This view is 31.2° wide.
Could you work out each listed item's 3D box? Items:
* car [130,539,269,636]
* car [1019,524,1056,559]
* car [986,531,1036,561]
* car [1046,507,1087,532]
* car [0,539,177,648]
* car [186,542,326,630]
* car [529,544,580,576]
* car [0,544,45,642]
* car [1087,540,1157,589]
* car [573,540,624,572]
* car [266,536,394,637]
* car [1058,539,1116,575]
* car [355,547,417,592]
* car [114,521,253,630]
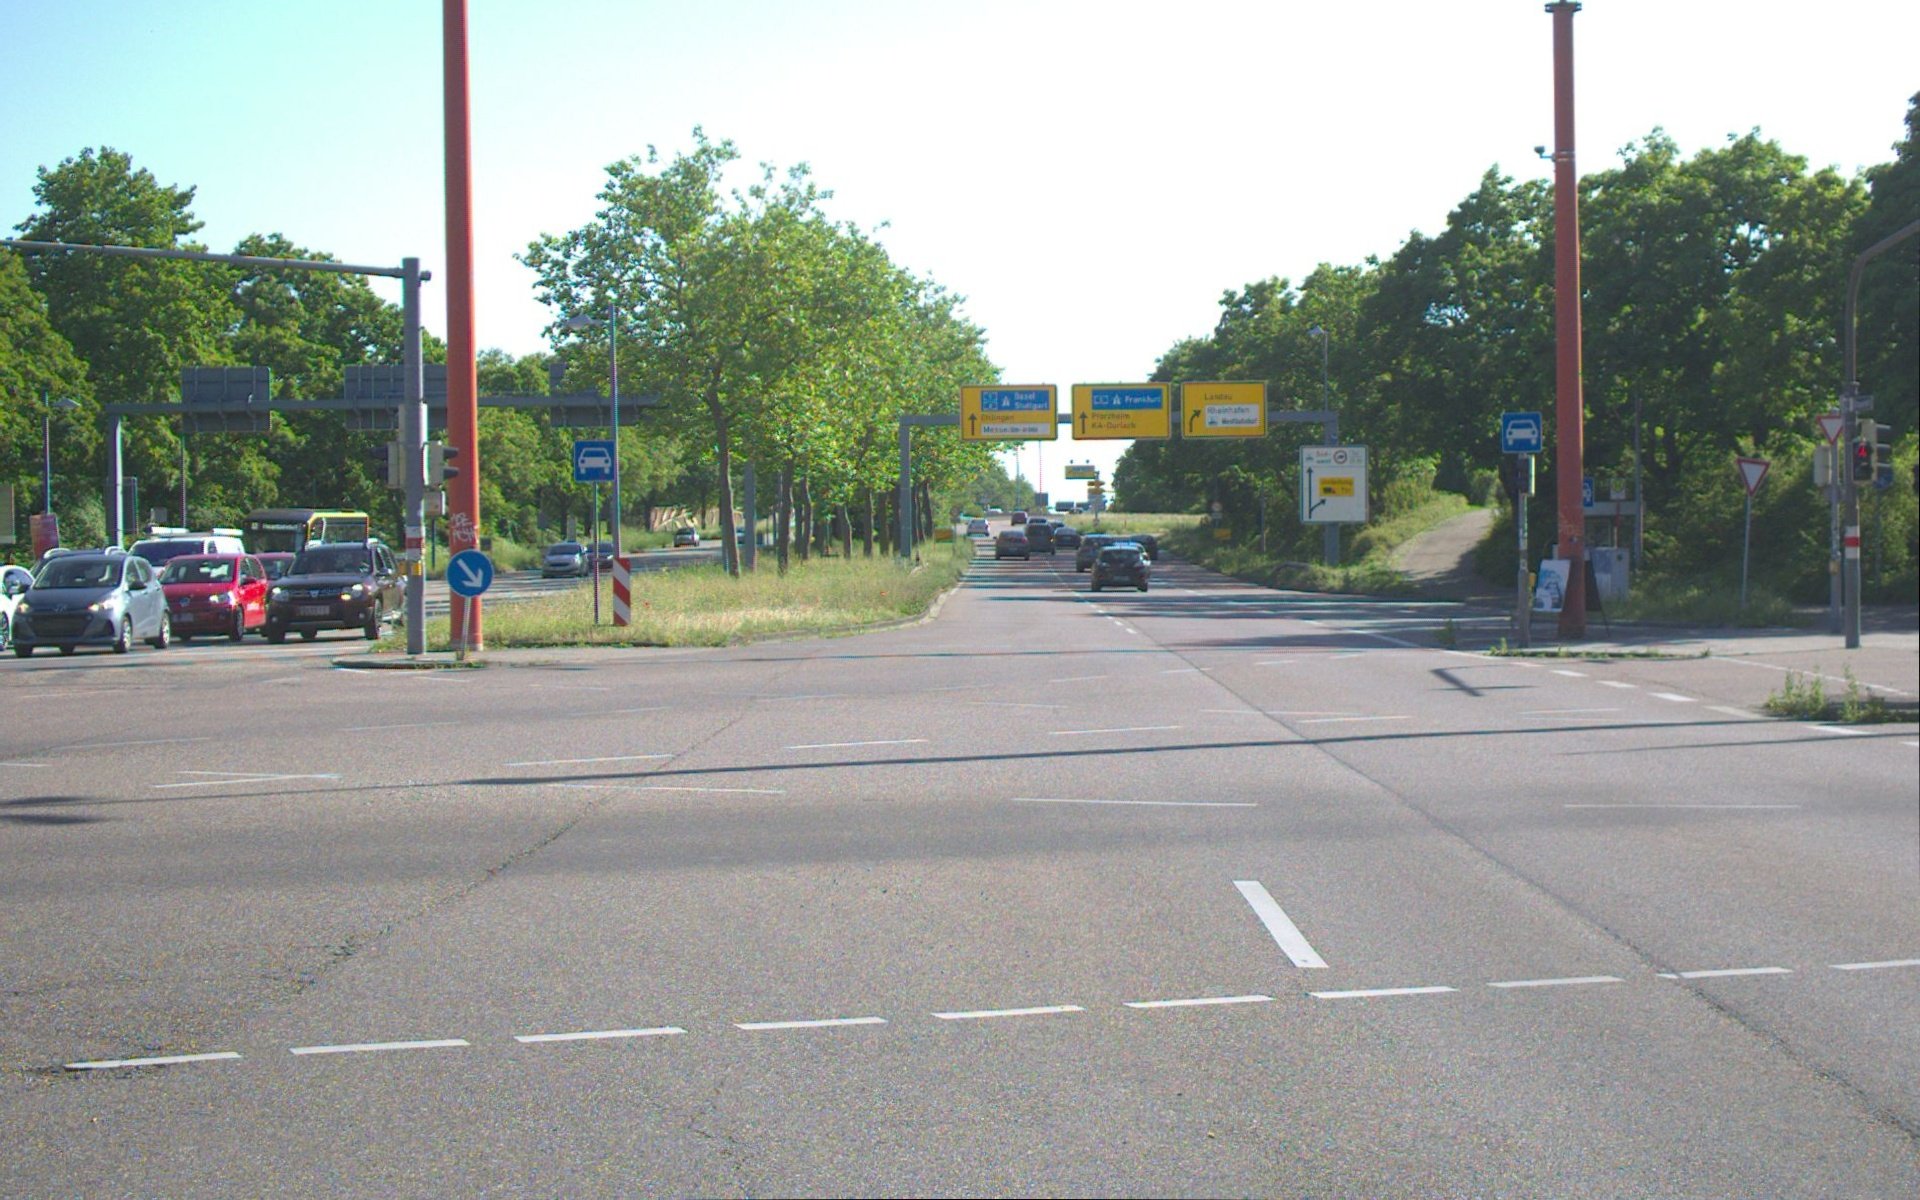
[{"bbox_3d":[-12.896,-0.233,58.482,1.993,1.568,4.122,-1,1,-8],"label":"car"},{"bbox_3d":[4.546,-3.425,202.312,1.993,2.007,4.000,-1,1,-1],"label":"car"},{"bbox_3d":[2.767,-2.921,186.396,2.245,1.568,4.282,-1,1,-5],"label":"car"},{"bbox_3d":[6.821,-5.146,220.769,2.158,1.568,4.281,-1,1,-4],"label":"car"},{"bbox_3d":[-13.251,-0.128,52.181,1.993,1.568,4.121,-1,1,-3],"label":"car"},{"bbox_3d":[-13.113,-0.293,64.261,1.993,1.568,4.121,-1,1,-4],"label":"car"},{"bbox_3d":[-18.542,-1.833,157.354,1.884,1.449,3.656,-1,1,0],"label":"car"},{"bbox_3d":[-16.486,-0.114,57.050,1.993,1.568,4.122,-2,1,-8],"label":"car"},{"bbox_3d":[5.280,-1.179,112.377,2.159,1.568,4.281,-1,1,1],"label":"car"},{"bbox_3d":[-18.218,-2.236,173.253,1.993,1.568,4.121,-1,1,2],"label":"car"},{"bbox_3d":[-10.245,-0.242,56.162,1.876,1.568,4.122,-1,1,-8],"label":"car"},{"bbox_3d":[5.725,-1.970,155.987,2.158,1.568,4.281,-1,1,-4],"label":"car"},{"bbox_3d":[-20.833,-1.123,124.899,1.876,1.568,4.121,-1,1,-5],"label":"car"},{"bbox_3d":[-16.111,-0.526,71.522,2.062,2.185,4.379,-1,1,-2],"label":"car"}]
